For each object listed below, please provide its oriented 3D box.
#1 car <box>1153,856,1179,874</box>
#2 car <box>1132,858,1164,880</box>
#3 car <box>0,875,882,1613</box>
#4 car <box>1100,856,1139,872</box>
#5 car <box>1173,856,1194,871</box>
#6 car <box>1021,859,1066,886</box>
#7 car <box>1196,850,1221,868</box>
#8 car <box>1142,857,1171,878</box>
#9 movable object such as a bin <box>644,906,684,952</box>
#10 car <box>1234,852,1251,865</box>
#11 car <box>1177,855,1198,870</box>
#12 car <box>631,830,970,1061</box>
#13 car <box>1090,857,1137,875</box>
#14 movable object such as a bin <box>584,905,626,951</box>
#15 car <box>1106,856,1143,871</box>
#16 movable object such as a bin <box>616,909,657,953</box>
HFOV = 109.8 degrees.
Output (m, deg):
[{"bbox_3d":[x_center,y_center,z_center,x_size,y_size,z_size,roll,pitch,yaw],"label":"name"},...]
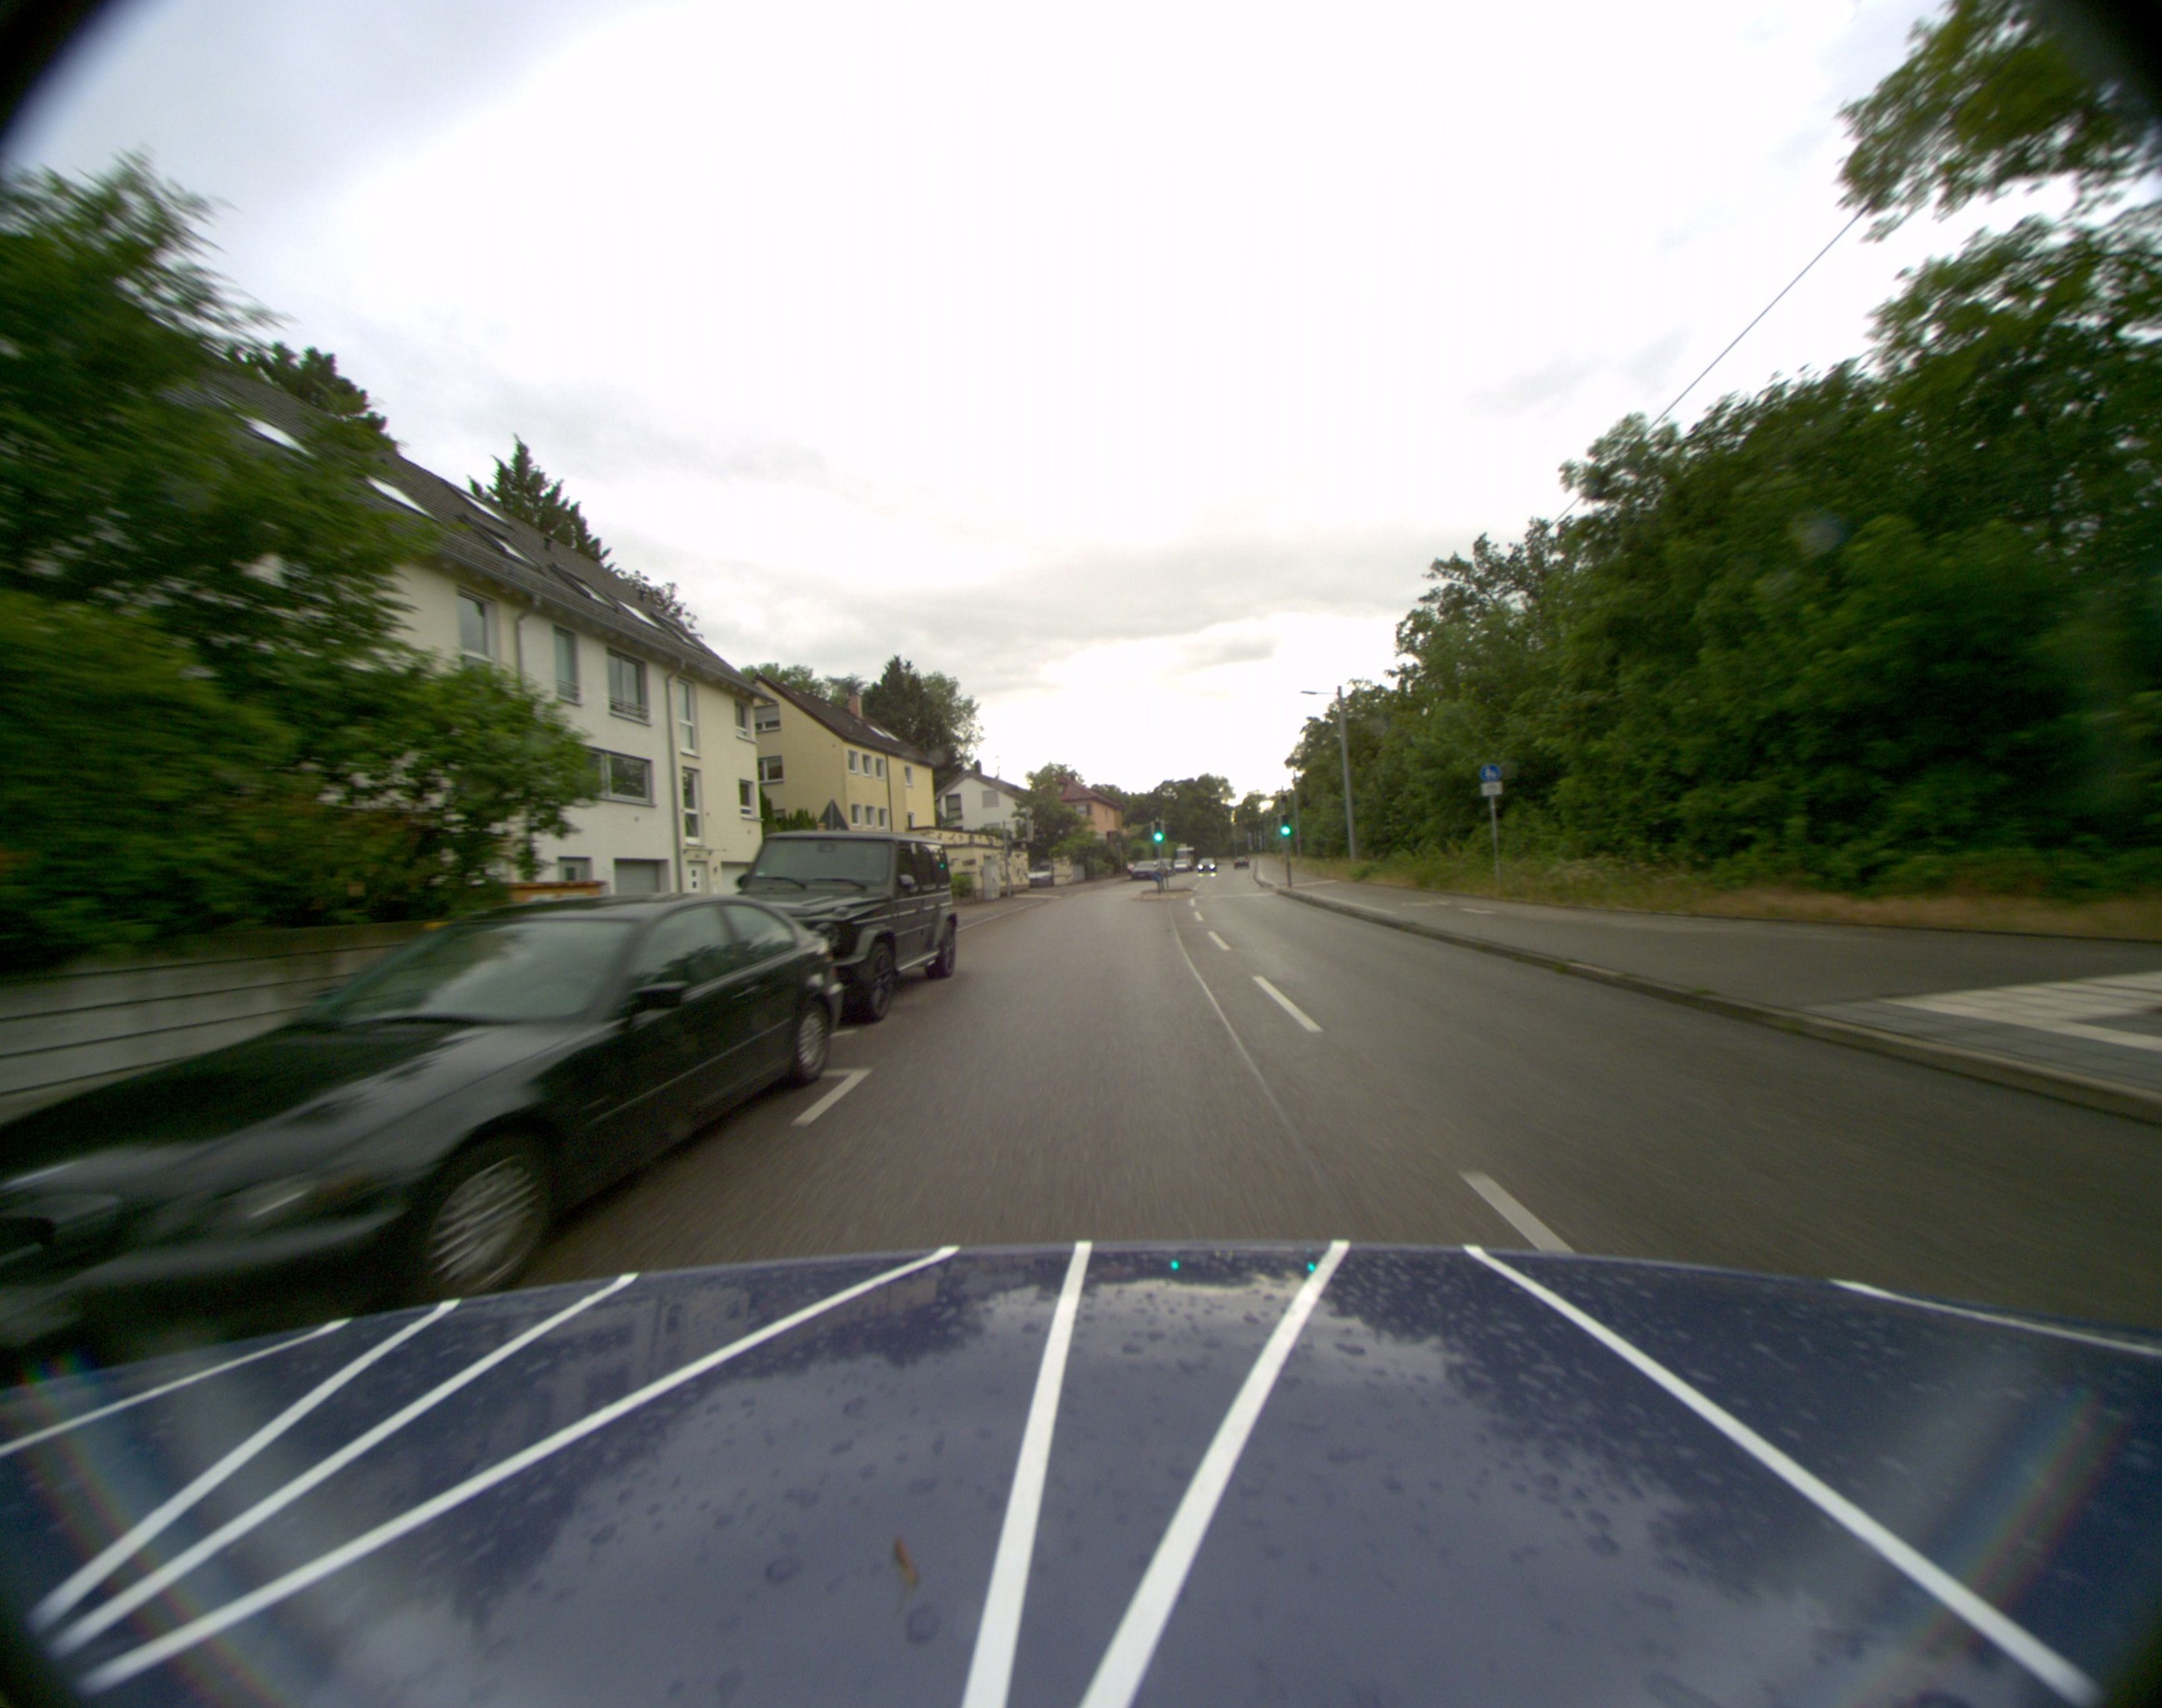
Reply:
[{"bbox_3d":[7.819,0.956,69.524,1.733,1.558,4.526,-2,0,14],"label":"car"},{"bbox_3d":[5.181,1.098,58.265,1.754,1.435,4.604,-3,0,14],"label":"car"},{"bbox_3d":[-2.780,0.986,4.039,1.936,1.586,4.396,-1,0,5],"label":"car"},{"bbox_3d":[3.884,1.000,76.729,3.663,1.557,1.884,-1,0,13],"label":"car"},{"bbox_3d":[11.549,1.039,85.318,1.815,1.390,4.106,-3,1,15],"label":"car"},{"bbox_3d":[-2.610,1.278,53.727,1.935,1.586,4.346,-4,0,14],"label":"car"},{"bbox_3d":[12.982,0.478,77.187,1.996,1.714,4.004,-2,0,15],"label":"car"},{"bbox_3d":[6.376,1.093,63.591,1.796,1.478,4.499,-3,1,13],"label":"car"},{"bbox_3d":[-9.189,1.647,16.754,0.508,0.935,0.595,-3,0,3],"label":"movable object such as a bin"},{"bbox_3d":[19.231,0.523,90.361,1.746,1.451,4.418,-3,0,14],"label":"car"},{"bbox_3d":[12.650,0.999,89.845,1.832,1.538,4.634,-3,1,15],"label":"car"},{"bbox_3d":[-2.820,0.811,9.122,1.998,2.002,4.957,-1,0,3],"label":"car"},{"bbox_3d":[3.177,1.163,74.773,4.252,1.452,1.884,-3,1,13],"label":"car"},{"bbox_3d":[-10.597,1.639,16.936,0.508,0.949,0.595,-3,0,3],"label":"movable object such as a bin"},{"bbox_3d":[4.539,0.991,79.658,3.663,1.527,1.830,0,0,11],"label":"car"},{"bbox_3d":[-9.859,1.696,16.866,0.508,0.906,0.595,-3,0,3],"label":"movable object such as a bin"}]
